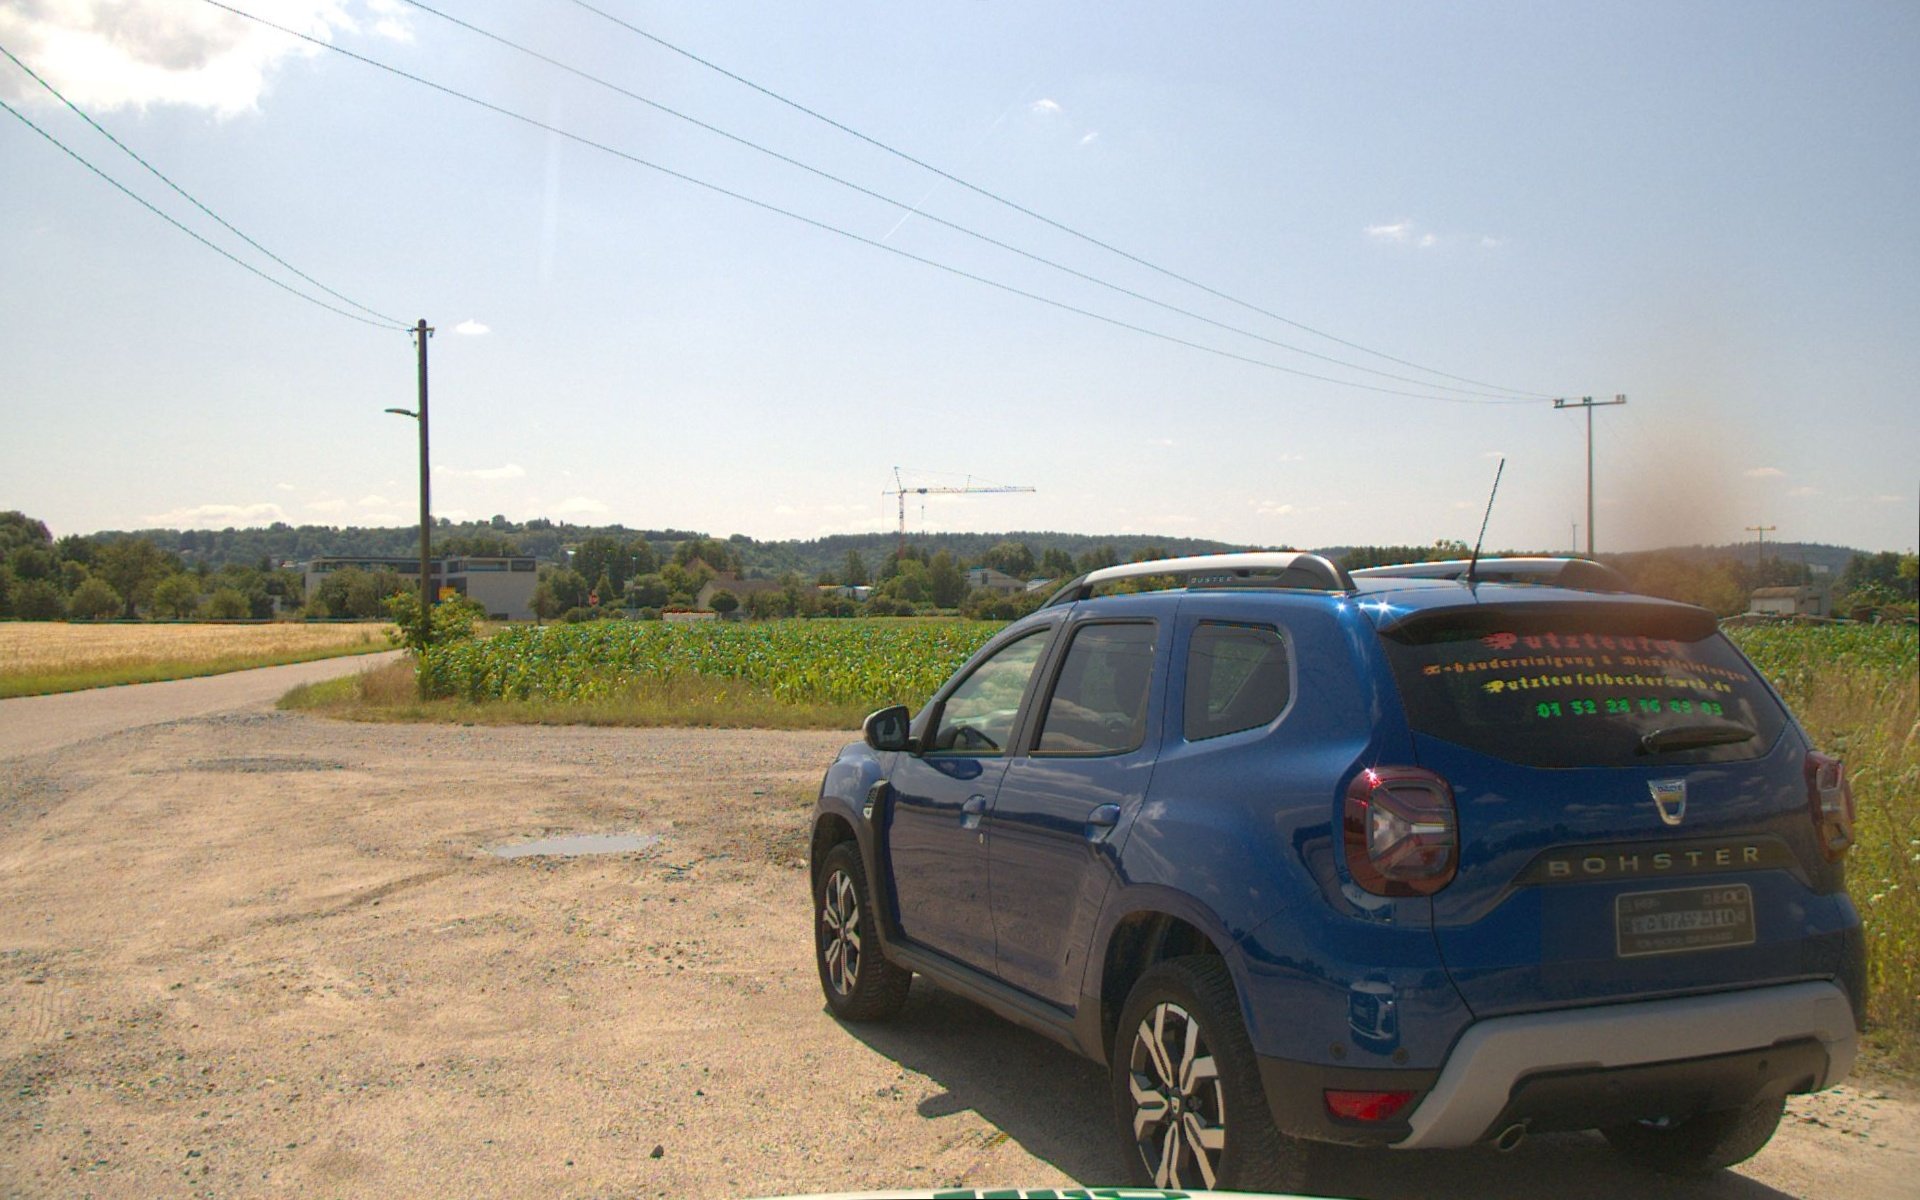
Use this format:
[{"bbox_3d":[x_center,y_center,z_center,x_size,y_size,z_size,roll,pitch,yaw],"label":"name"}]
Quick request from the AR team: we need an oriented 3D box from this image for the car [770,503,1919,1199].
[{"bbox_3d":[0.851,0.722,5.541,1.833,1.690,4.427,1,-2,-22],"label":"car"}]
